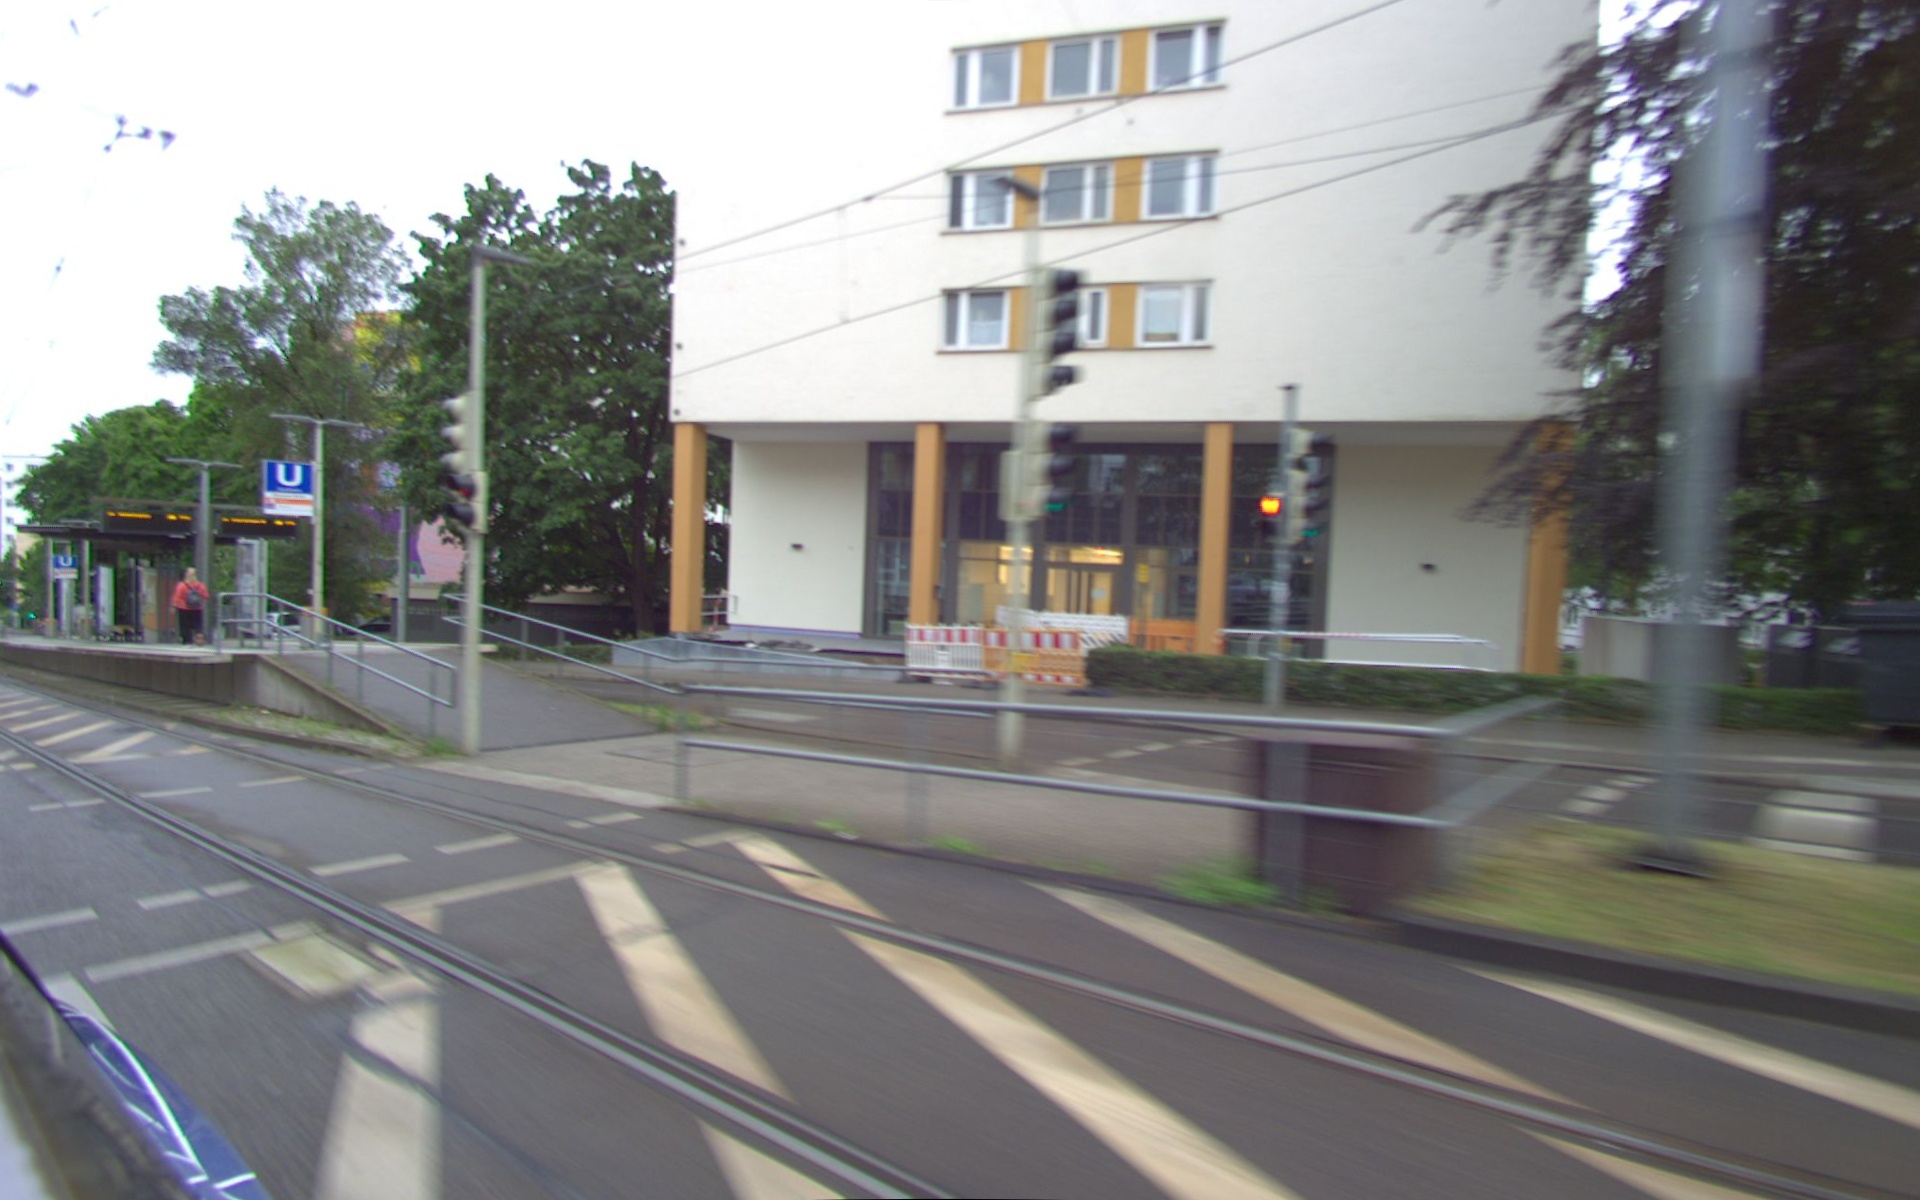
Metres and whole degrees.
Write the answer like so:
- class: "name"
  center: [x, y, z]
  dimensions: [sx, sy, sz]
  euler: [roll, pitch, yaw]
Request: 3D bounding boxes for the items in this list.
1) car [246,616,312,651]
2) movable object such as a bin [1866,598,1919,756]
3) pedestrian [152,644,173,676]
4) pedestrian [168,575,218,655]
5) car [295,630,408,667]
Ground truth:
- class: "car"
  center: [-35.467, 1.759, 52.660]
  dimensions: [4.438, 1.730, 1.728]
  euler: [-2, -2, 41]
- class: "movable object such as a bin"
  center: [9.501, 0.713, 9.596]
  dimensions: [1.304, 1.444, 1.010]
  euler: [-2, 0, 43]
- class: "pedestrian"
  center: [-42.797, 3.212, 54.298]
  dimensions: [0.617, 1.605, 0.744]
  euler: [-2, 0, 44]
- class: "pedestrian"
  center: [-15.333, 0.309, 20.227]
  dimensions: [0.771, 1.560, 0.664]
  euler: [-3, -2, 41]
- class: "car"
  center: [-28.278, 2.229, 47.222]
  dimensions: [4.416, 1.554, 1.951]
  euler: [0, -1, -28]
